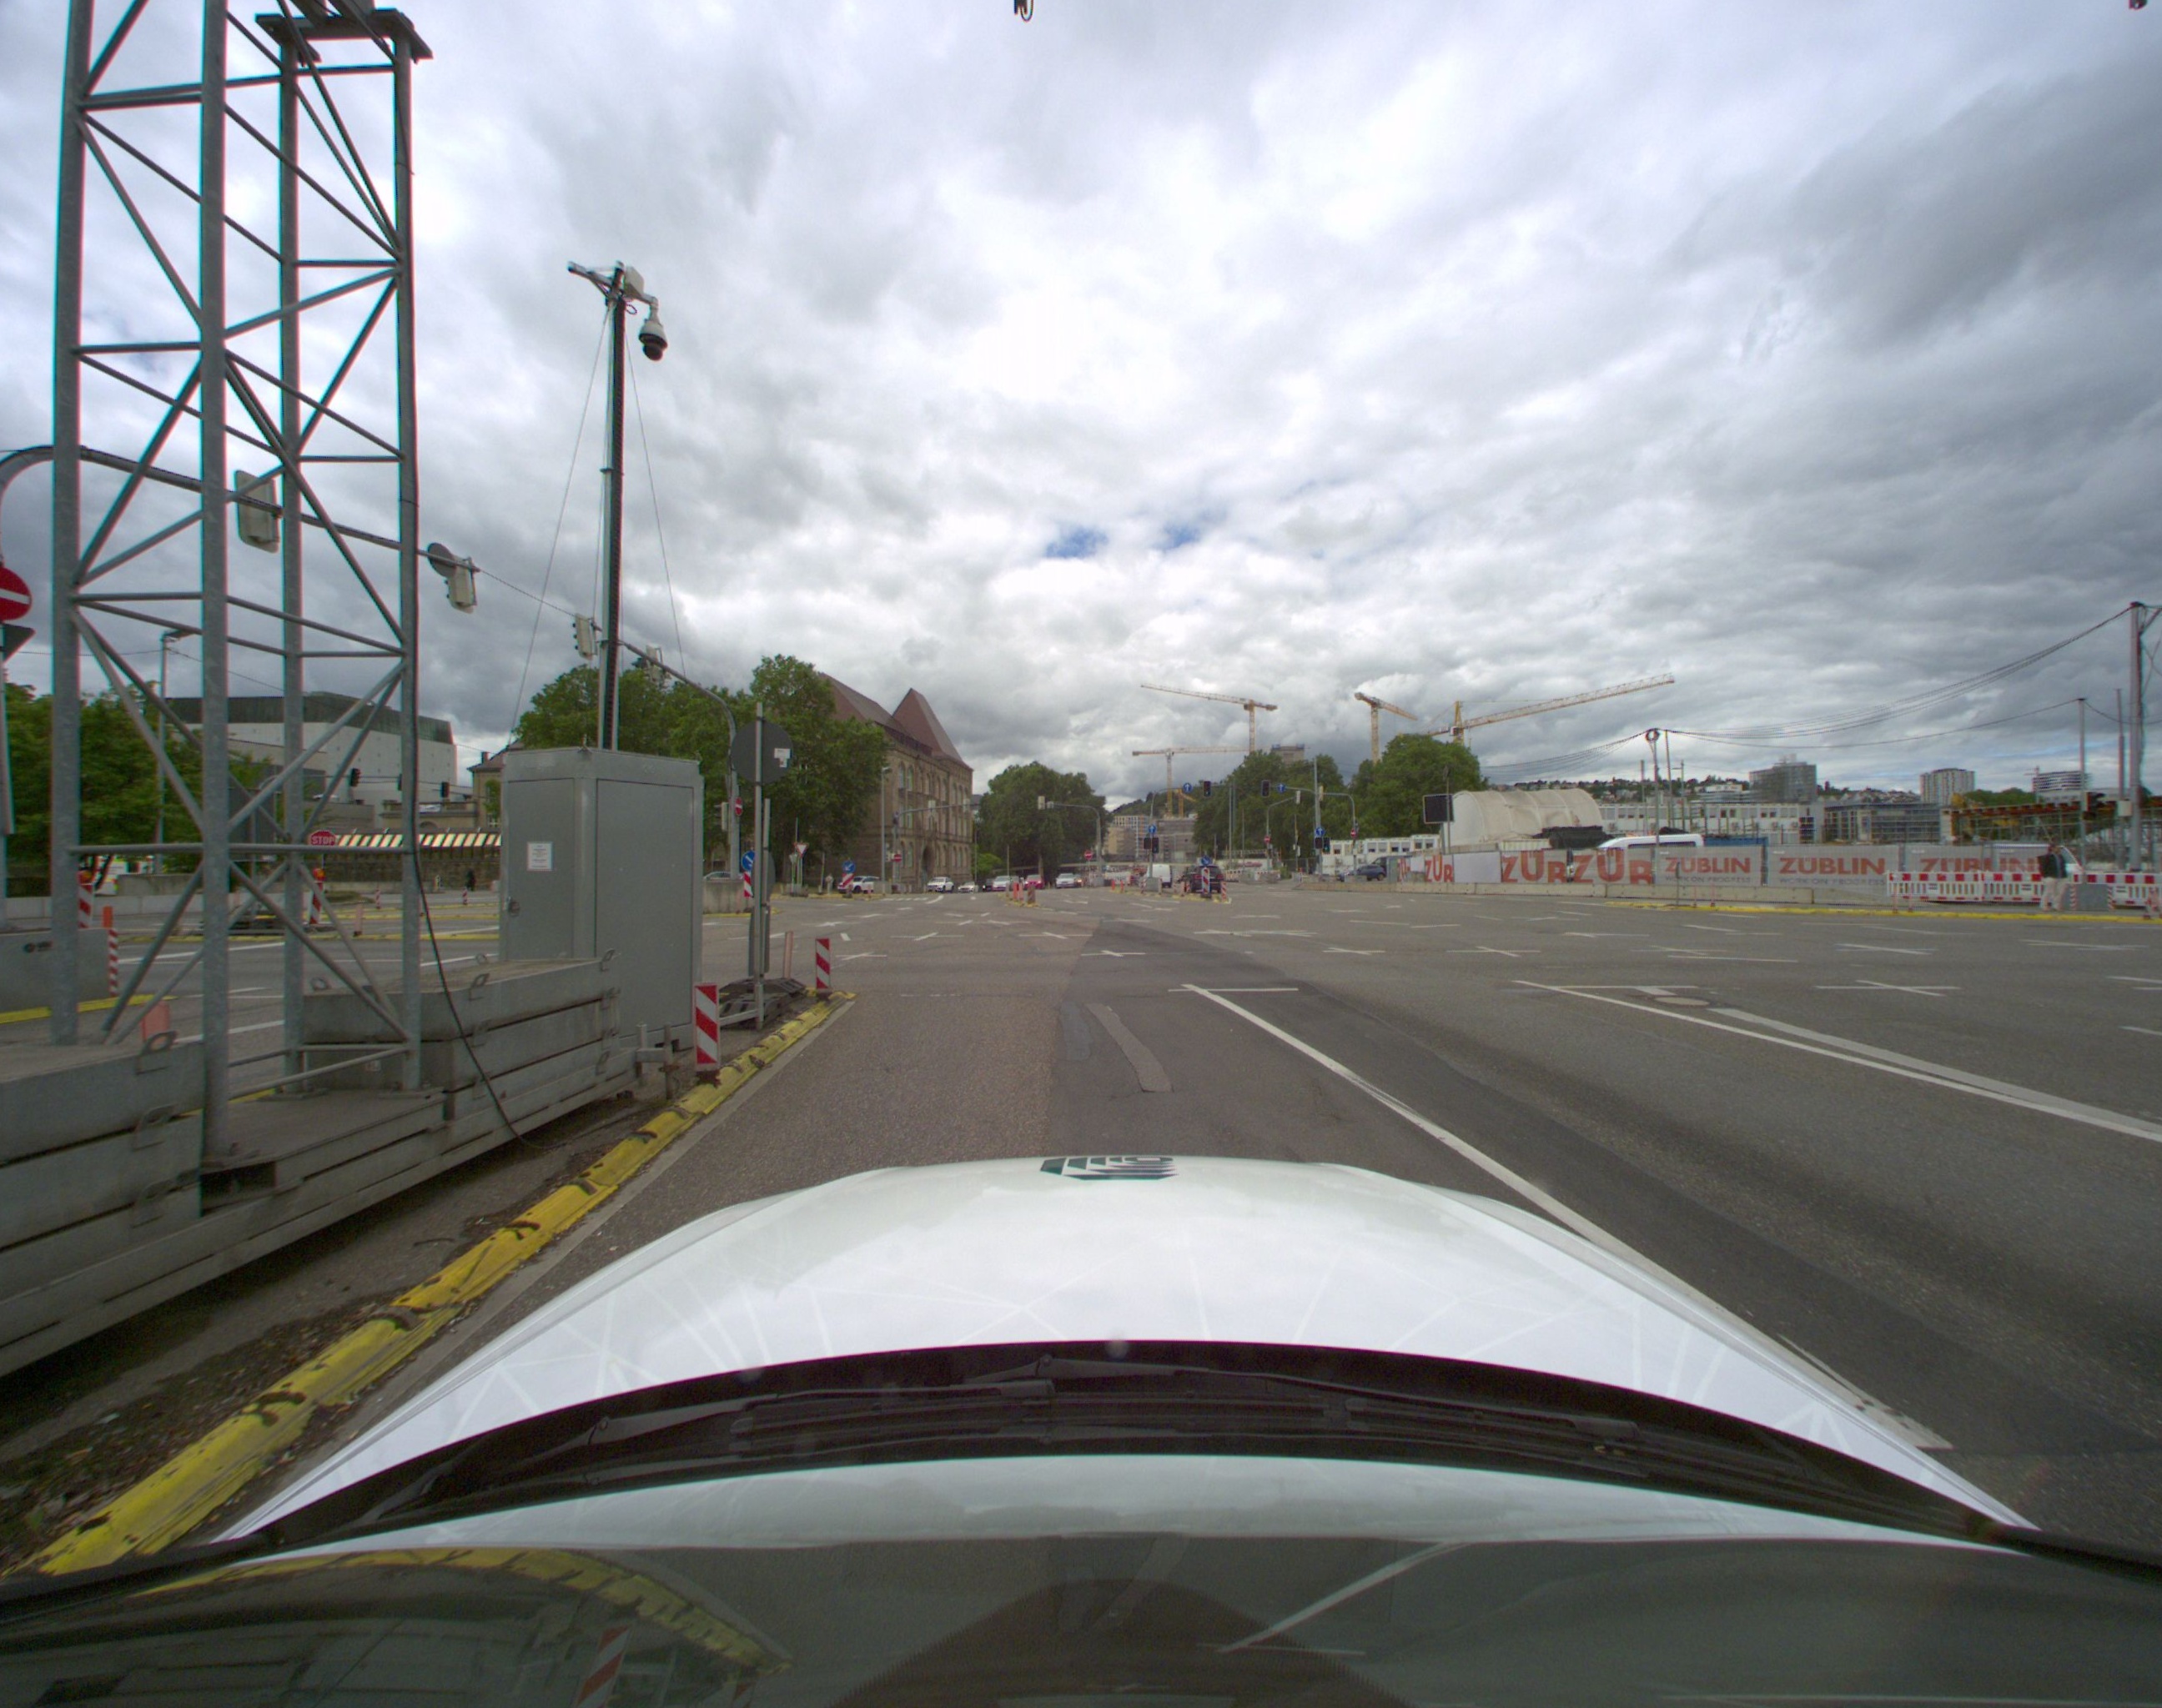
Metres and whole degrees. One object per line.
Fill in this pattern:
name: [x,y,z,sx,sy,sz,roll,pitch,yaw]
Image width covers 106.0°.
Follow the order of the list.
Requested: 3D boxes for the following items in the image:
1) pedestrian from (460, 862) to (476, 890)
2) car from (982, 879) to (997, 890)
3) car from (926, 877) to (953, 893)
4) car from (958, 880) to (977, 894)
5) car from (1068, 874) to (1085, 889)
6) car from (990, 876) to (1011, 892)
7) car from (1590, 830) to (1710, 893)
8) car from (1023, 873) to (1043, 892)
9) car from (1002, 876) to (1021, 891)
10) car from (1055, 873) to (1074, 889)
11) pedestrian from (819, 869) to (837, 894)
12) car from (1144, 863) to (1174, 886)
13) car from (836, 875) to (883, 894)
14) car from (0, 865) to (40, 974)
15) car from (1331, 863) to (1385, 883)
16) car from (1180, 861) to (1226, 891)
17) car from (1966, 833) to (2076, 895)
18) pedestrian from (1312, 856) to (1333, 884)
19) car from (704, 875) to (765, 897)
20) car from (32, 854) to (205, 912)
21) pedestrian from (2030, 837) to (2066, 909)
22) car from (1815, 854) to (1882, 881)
pedestrian: [-43.955,1.568,58.368,0.642,2.014,0.604,-1,-1,0]
car: [-11.911,3.942,106.196,1.671,1.398,3.680,-1,-1,-1]
car: [-13.416,2.910,77.381,1.668,1.398,3.688,-1,-1,5]
car: [-12.539,3.627,89.931,1.671,1.398,3.680,-1,-1,-1]
car: [-0.462,2.819,82.818,1.671,1.398,3.680,-1,-1,-1]
car: [-7.618,2.810,76.970,1.671,1.398,3.680,-1,-1,-1]
car: [25.101,0.348,36.077,3.955,2.662,1.689,-2,-1,18]
car: [-4.455,2.632,75.827,1.671,1.580,3.680,-1,-1,-1]
car: [-7.044,2.992,83.111,1.671,1.398,3.680,-1,-1,-1]
car: [-1.518,2.468,75.799,1.671,1.398,3.680,-1,-1,-1]
pedestrian: [-21.211,2.311,68.313,1.187,2.014,1.174,0,-1,-33]
car: [5.982,1.568,63.067,1.812,1.625,3.997,-1,-1,-2]
car: [-18.221,2.520,67.120,1.660,1.398,3.705,-2,-1,28]
car: [-18.141,1.010,11.731,4.037,1.625,1.831,-1,-1,2]
car: [23.438,1.607,68.875,3.993,1.625,1.814,-1,-1,-14]
car: [7.343,1.321,49.513,1.829,1.746,4.248,-1,-1,-5]
car: [31.560,0.332,27.446,1.755,1.954,3.146,-2,-1,37]
pedestrian: [18.005,1.183,60.838,1.093,2.014,1.182,-1,-1,-7]
car: [-24.821,2.266,58.380,3.702,1.398,1.662,0,-1,-40]
car: [-54.878,1.637,46.565,6.722,3.052,2.369,-1,-1,-3]
pedestrian: [26.927,0.519,22.673,0.437,1.976,0.581,0,-1,-44]
car: [45.215,0.771,48.077,1.660,1.528,4.023,-2,-1,25]
